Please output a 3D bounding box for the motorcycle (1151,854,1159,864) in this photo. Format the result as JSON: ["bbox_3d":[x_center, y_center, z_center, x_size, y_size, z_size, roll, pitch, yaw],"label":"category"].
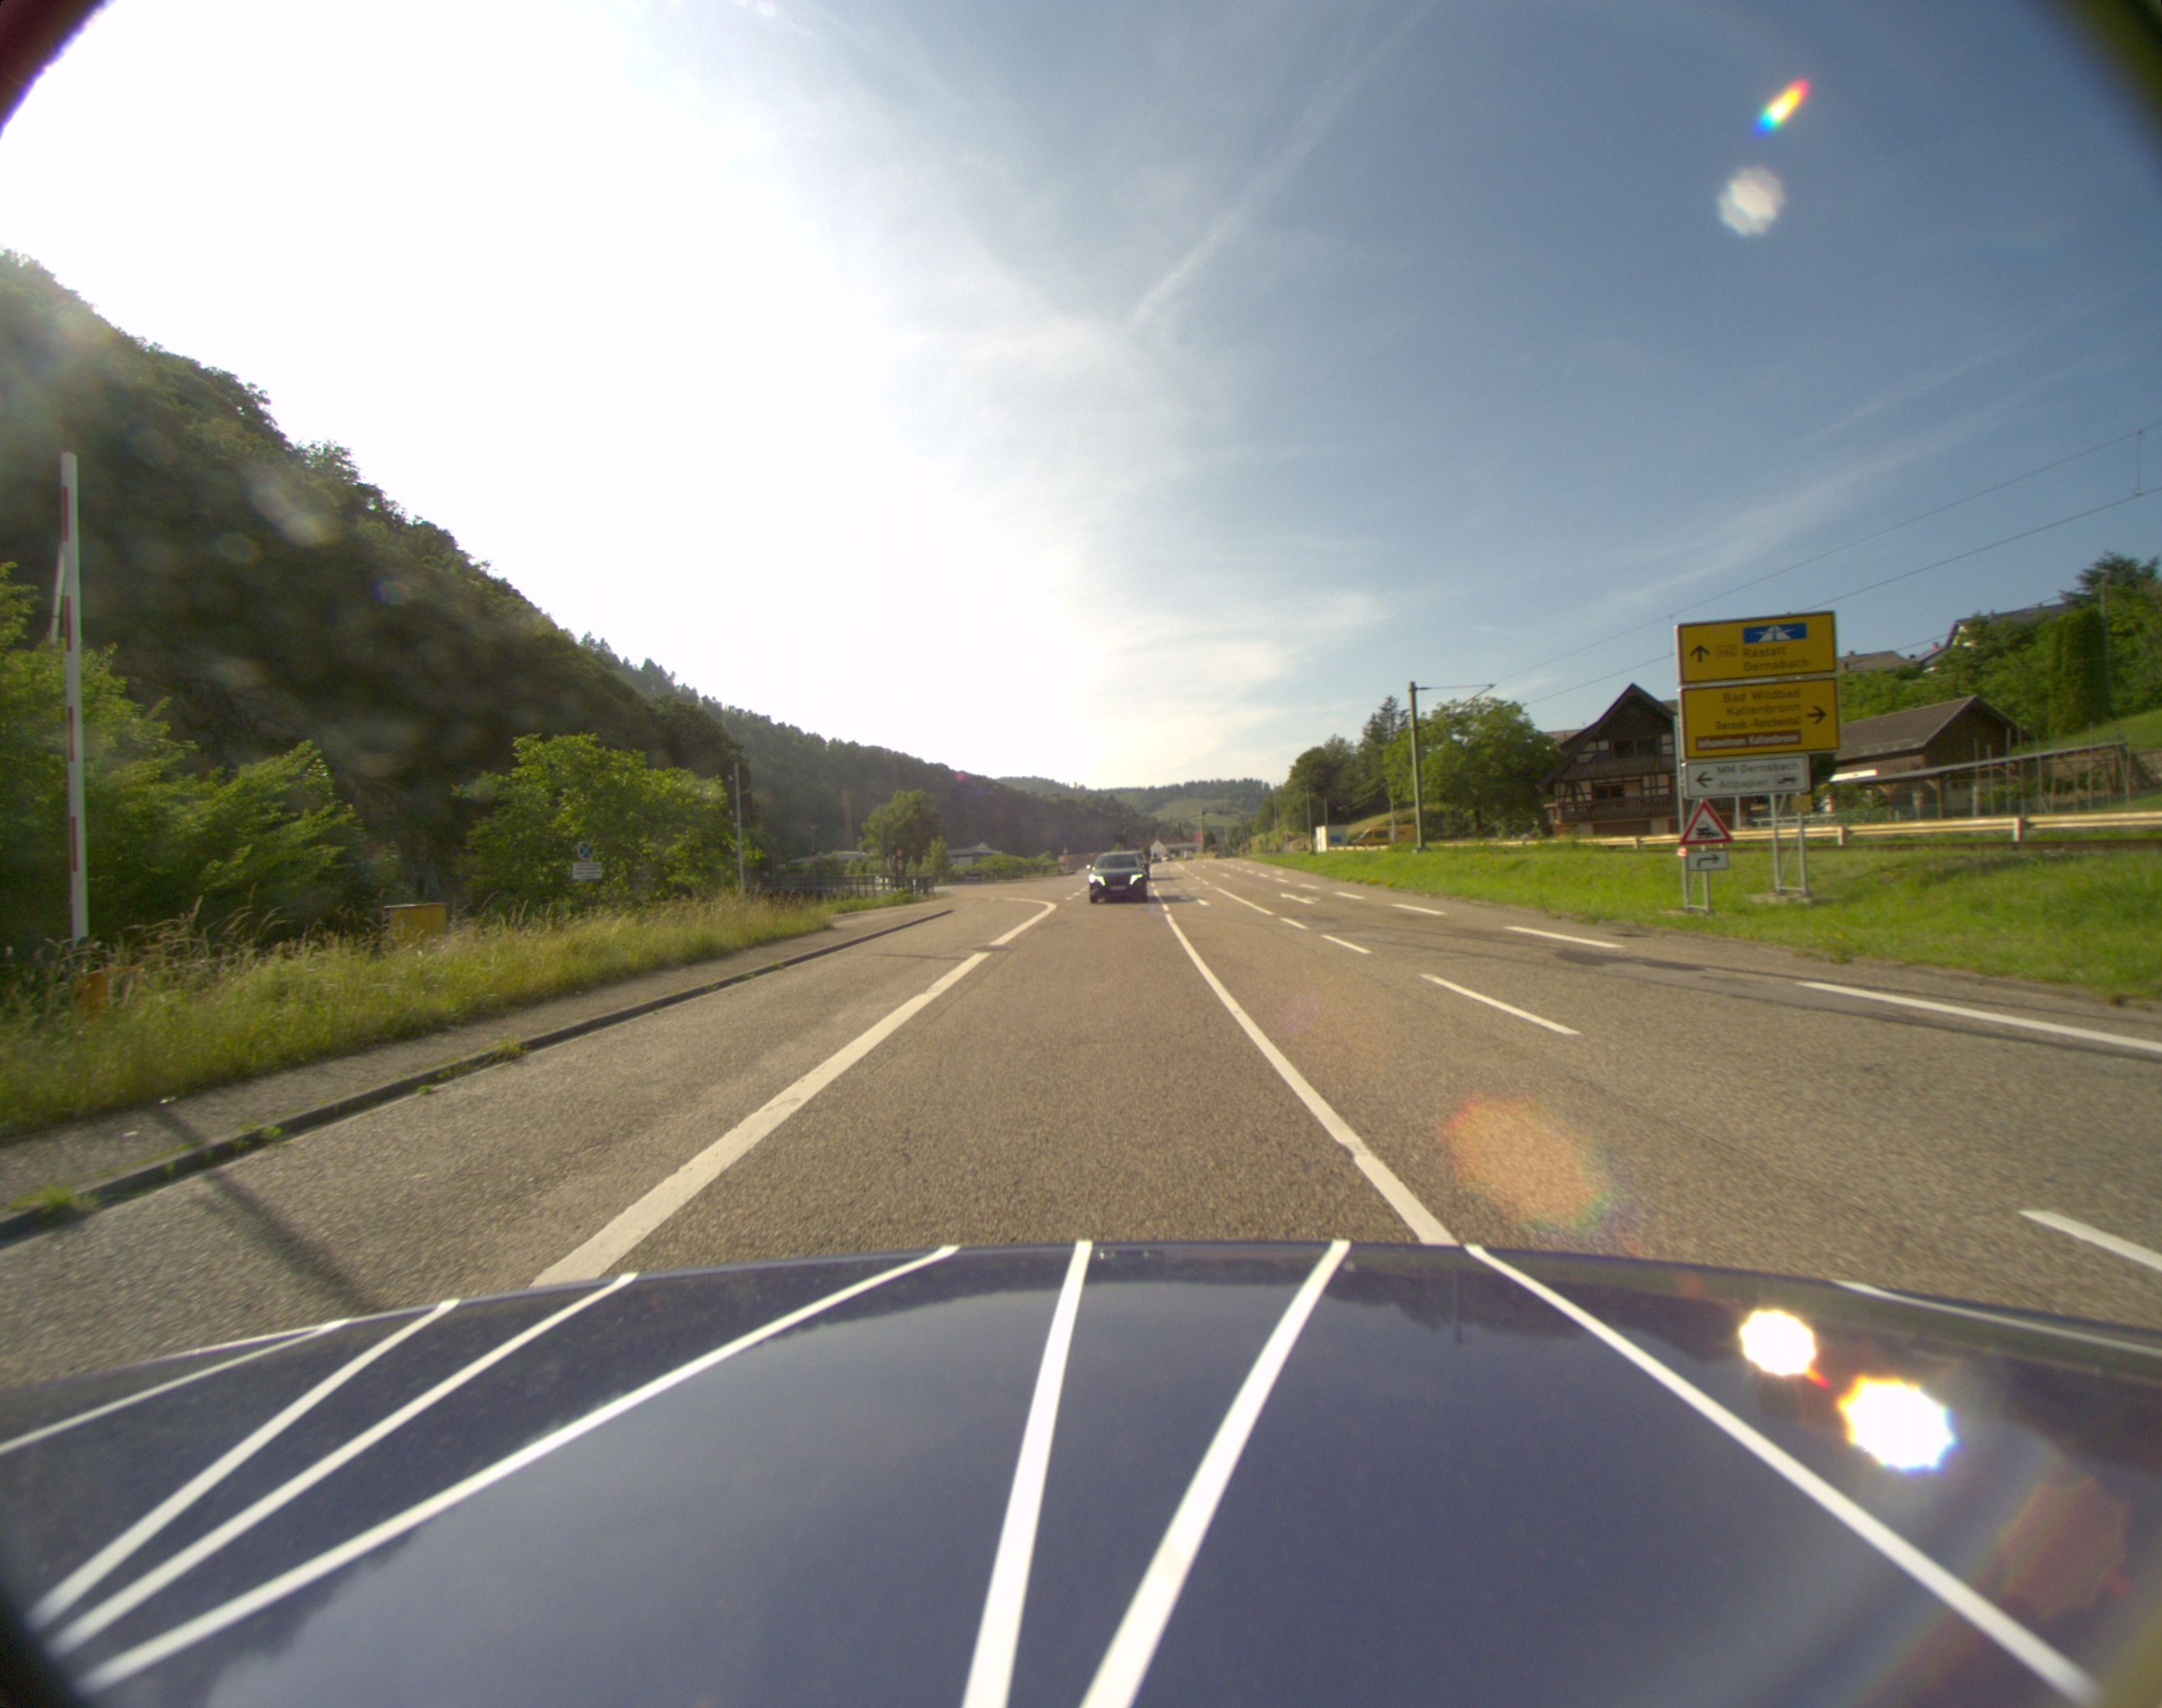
[{"bbox_3d":[10.691,0.699,109.251,1.004,1.260,2.595,-5,-1,7],"label":"motorcycle"}]

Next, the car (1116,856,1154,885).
[{"bbox_3d":[3.041,0.916,43.584,1.919,1.455,4.001,-4,-1,2],"label":"car"}]

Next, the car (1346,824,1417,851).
[{"bbox_3d":[33.907,-1.821,85.962,7.074,2.442,2.952,-5,-1,16],"label":"car"}]

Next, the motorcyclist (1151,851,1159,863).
[{"bbox_3d":[10.702,0.425,109.460,0.990,1.535,1.187,-6,-1,7],"label":"motorcyclist"}]

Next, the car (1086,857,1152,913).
[{"bbox_3d":[1.351,1.018,26.294,1.998,1.660,5.513,-2,-2,4],"label":"car"}]

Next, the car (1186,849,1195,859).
[{"bbox_3d":[29.612,0.065,205.205,2.124,2.421,5.232,-5,-1,8],"label":"car"}]
